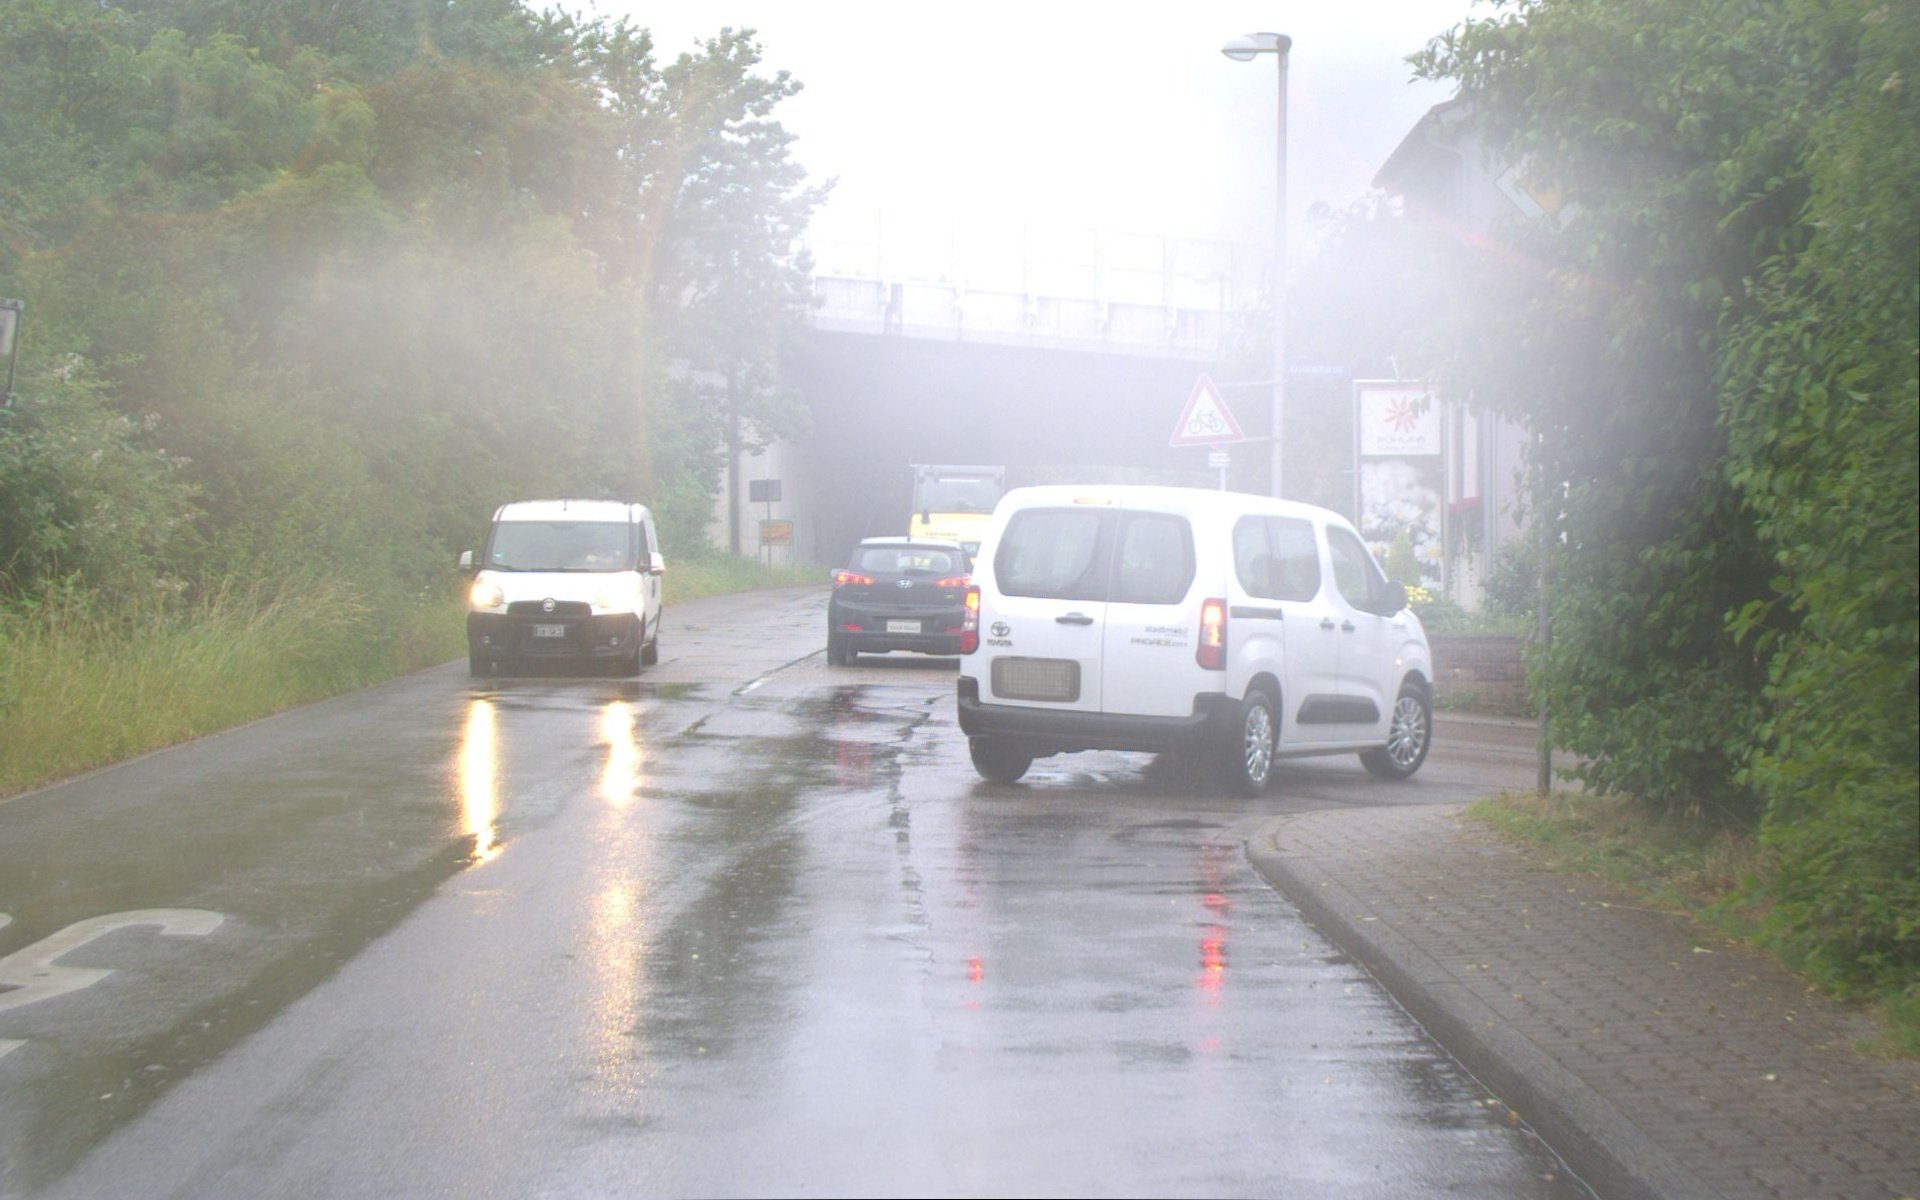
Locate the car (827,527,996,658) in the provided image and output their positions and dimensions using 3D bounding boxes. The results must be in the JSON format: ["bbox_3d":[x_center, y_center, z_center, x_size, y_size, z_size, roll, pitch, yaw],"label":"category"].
[{"bbox_3d":[-0.506,-0.118,39.384,1.709,1.373,4.000,1,1,2],"label":"car"}]

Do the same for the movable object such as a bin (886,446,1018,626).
[{"bbox_3d":[-0.078,-0.952,51.340,1.761,2.539,4.239,1,1,2],"label":"movable object such as a bin"}]

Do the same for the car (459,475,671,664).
[{"bbox_3d":[-4.053,-0.343,35.840,1.823,1.825,4.308,1,1,-2],"label":"car"}]

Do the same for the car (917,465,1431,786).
[{"bbox_3d":[1.445,0.069,21.468,1.899,1.800,3.995,1,2,24],"label":"car"}]
